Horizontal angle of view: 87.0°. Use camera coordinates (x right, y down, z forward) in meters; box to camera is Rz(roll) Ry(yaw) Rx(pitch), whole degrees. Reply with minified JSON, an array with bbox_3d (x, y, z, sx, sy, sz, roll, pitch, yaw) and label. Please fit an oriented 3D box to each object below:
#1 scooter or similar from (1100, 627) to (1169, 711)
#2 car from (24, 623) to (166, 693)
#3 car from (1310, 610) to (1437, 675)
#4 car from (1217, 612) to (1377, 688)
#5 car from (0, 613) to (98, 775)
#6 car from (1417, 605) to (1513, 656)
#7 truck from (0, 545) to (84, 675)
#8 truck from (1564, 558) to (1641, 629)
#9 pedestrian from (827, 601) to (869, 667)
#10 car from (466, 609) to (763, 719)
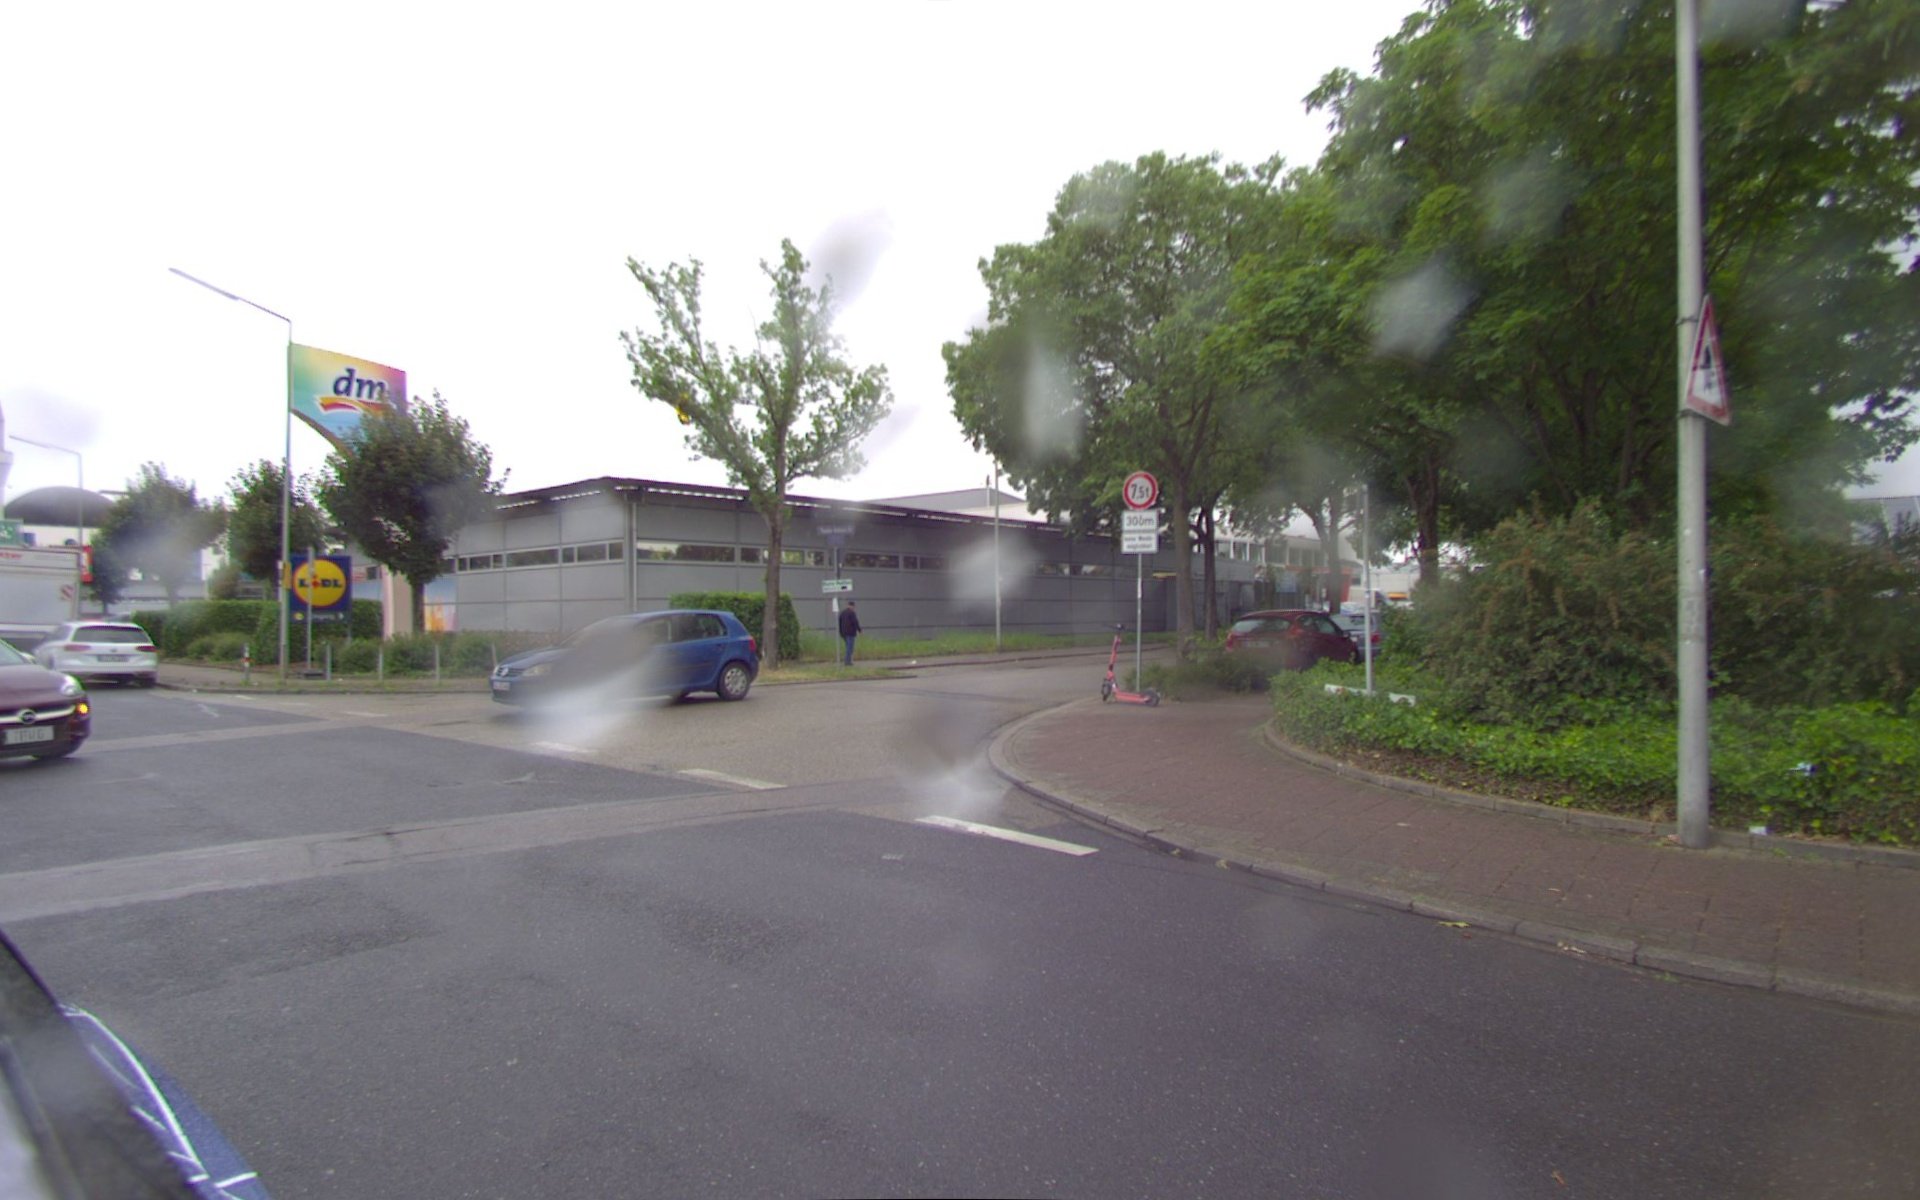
[{"bbox_3d":[2.567,1.001,14.955,0.280,1.184,1.061,1,-1,-42],"label":"scooter or similar"},{"bbox_3d":[-19.729,1.262,23.011,4.489,1.445,1.816,-1,-3,41],"label":"car"},{"bbox_3d":[10.155,1.000,24.705,1.735,1.452,3.946,-2,-2,40],"label":"car"},{"bbox_3d":[6.896,0.969,20.509,1.735,1.374,3.946,-2,-2,40],"label":"car"},{"bbox_3d":[-10.521,0.912,9.868,3.549,1.466,1.628,-1,0,18],"label":"car"},{"bbox_3d":[15.634,0.943,31.247,1.735,1.452,3.946,-2,-2,40],"label":"car"},{"bbox_3d":[-30.593,0.362,32.422,7.865,3.775,2.851,-1,-1,42],"label":"truck"},{"bbox_3d":[34.127,-0.281,53.674,2.601,3.496,6.724,-1,-1,40],"label":"truck"},{"bbox_3d":[-2.908,0.866,26.262,0.758,1.686,0.772,-1,-2,38],"label":"pedestrian"},{"bbox_3d":[-5.101,0.899,15.348,1.735,1.452,3.946,-2,-2,40],"label":"car"}]
